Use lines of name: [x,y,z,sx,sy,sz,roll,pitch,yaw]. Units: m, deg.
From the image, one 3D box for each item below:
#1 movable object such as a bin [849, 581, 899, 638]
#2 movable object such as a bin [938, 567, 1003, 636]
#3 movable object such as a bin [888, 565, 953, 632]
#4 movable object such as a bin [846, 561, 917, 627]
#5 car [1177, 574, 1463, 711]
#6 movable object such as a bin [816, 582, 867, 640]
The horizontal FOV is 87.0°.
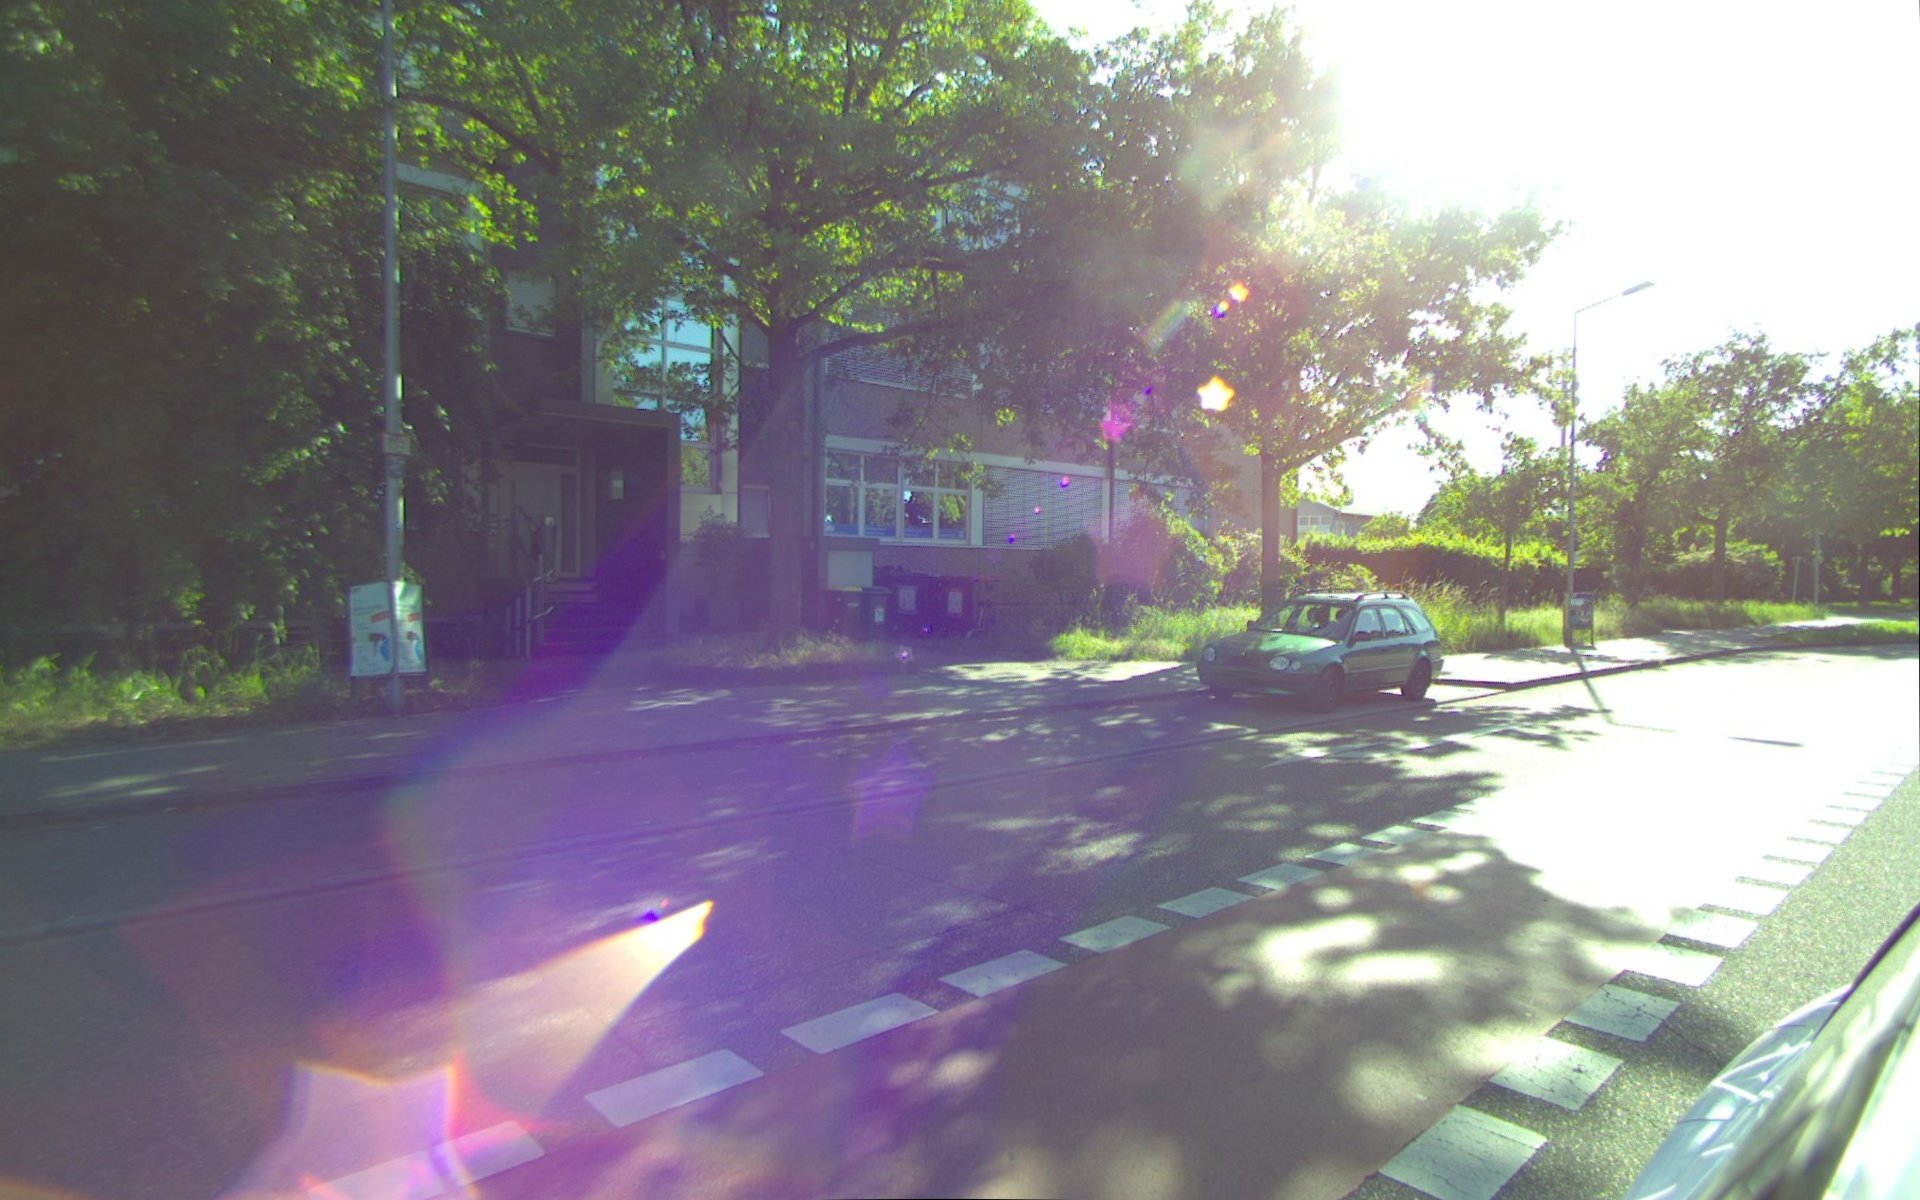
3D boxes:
movable object such as a bin: [-1.651,0.171,19.415,0.683,1.055,0.687,0,1,-41]
movable object such as a bin: [0.207,0.014,20.199,0.782,1.338,1.089,0,1,-40]
movable object such as a bin: [-0.839,-0.043,21.258,0.782,1.357,1.207,0,2,-40]
movable object such as a bin: [-1.752,-0.153,22.350,0.864,1.396,1.469,0,2,-40]
car: [4.937,0.450,13.629,4.141,1.504,1.776,-1,3,-41]
movable object such as a bin: [-2.213,0.192,18.943,0.683,1.055,0.687,0,0,-41]
